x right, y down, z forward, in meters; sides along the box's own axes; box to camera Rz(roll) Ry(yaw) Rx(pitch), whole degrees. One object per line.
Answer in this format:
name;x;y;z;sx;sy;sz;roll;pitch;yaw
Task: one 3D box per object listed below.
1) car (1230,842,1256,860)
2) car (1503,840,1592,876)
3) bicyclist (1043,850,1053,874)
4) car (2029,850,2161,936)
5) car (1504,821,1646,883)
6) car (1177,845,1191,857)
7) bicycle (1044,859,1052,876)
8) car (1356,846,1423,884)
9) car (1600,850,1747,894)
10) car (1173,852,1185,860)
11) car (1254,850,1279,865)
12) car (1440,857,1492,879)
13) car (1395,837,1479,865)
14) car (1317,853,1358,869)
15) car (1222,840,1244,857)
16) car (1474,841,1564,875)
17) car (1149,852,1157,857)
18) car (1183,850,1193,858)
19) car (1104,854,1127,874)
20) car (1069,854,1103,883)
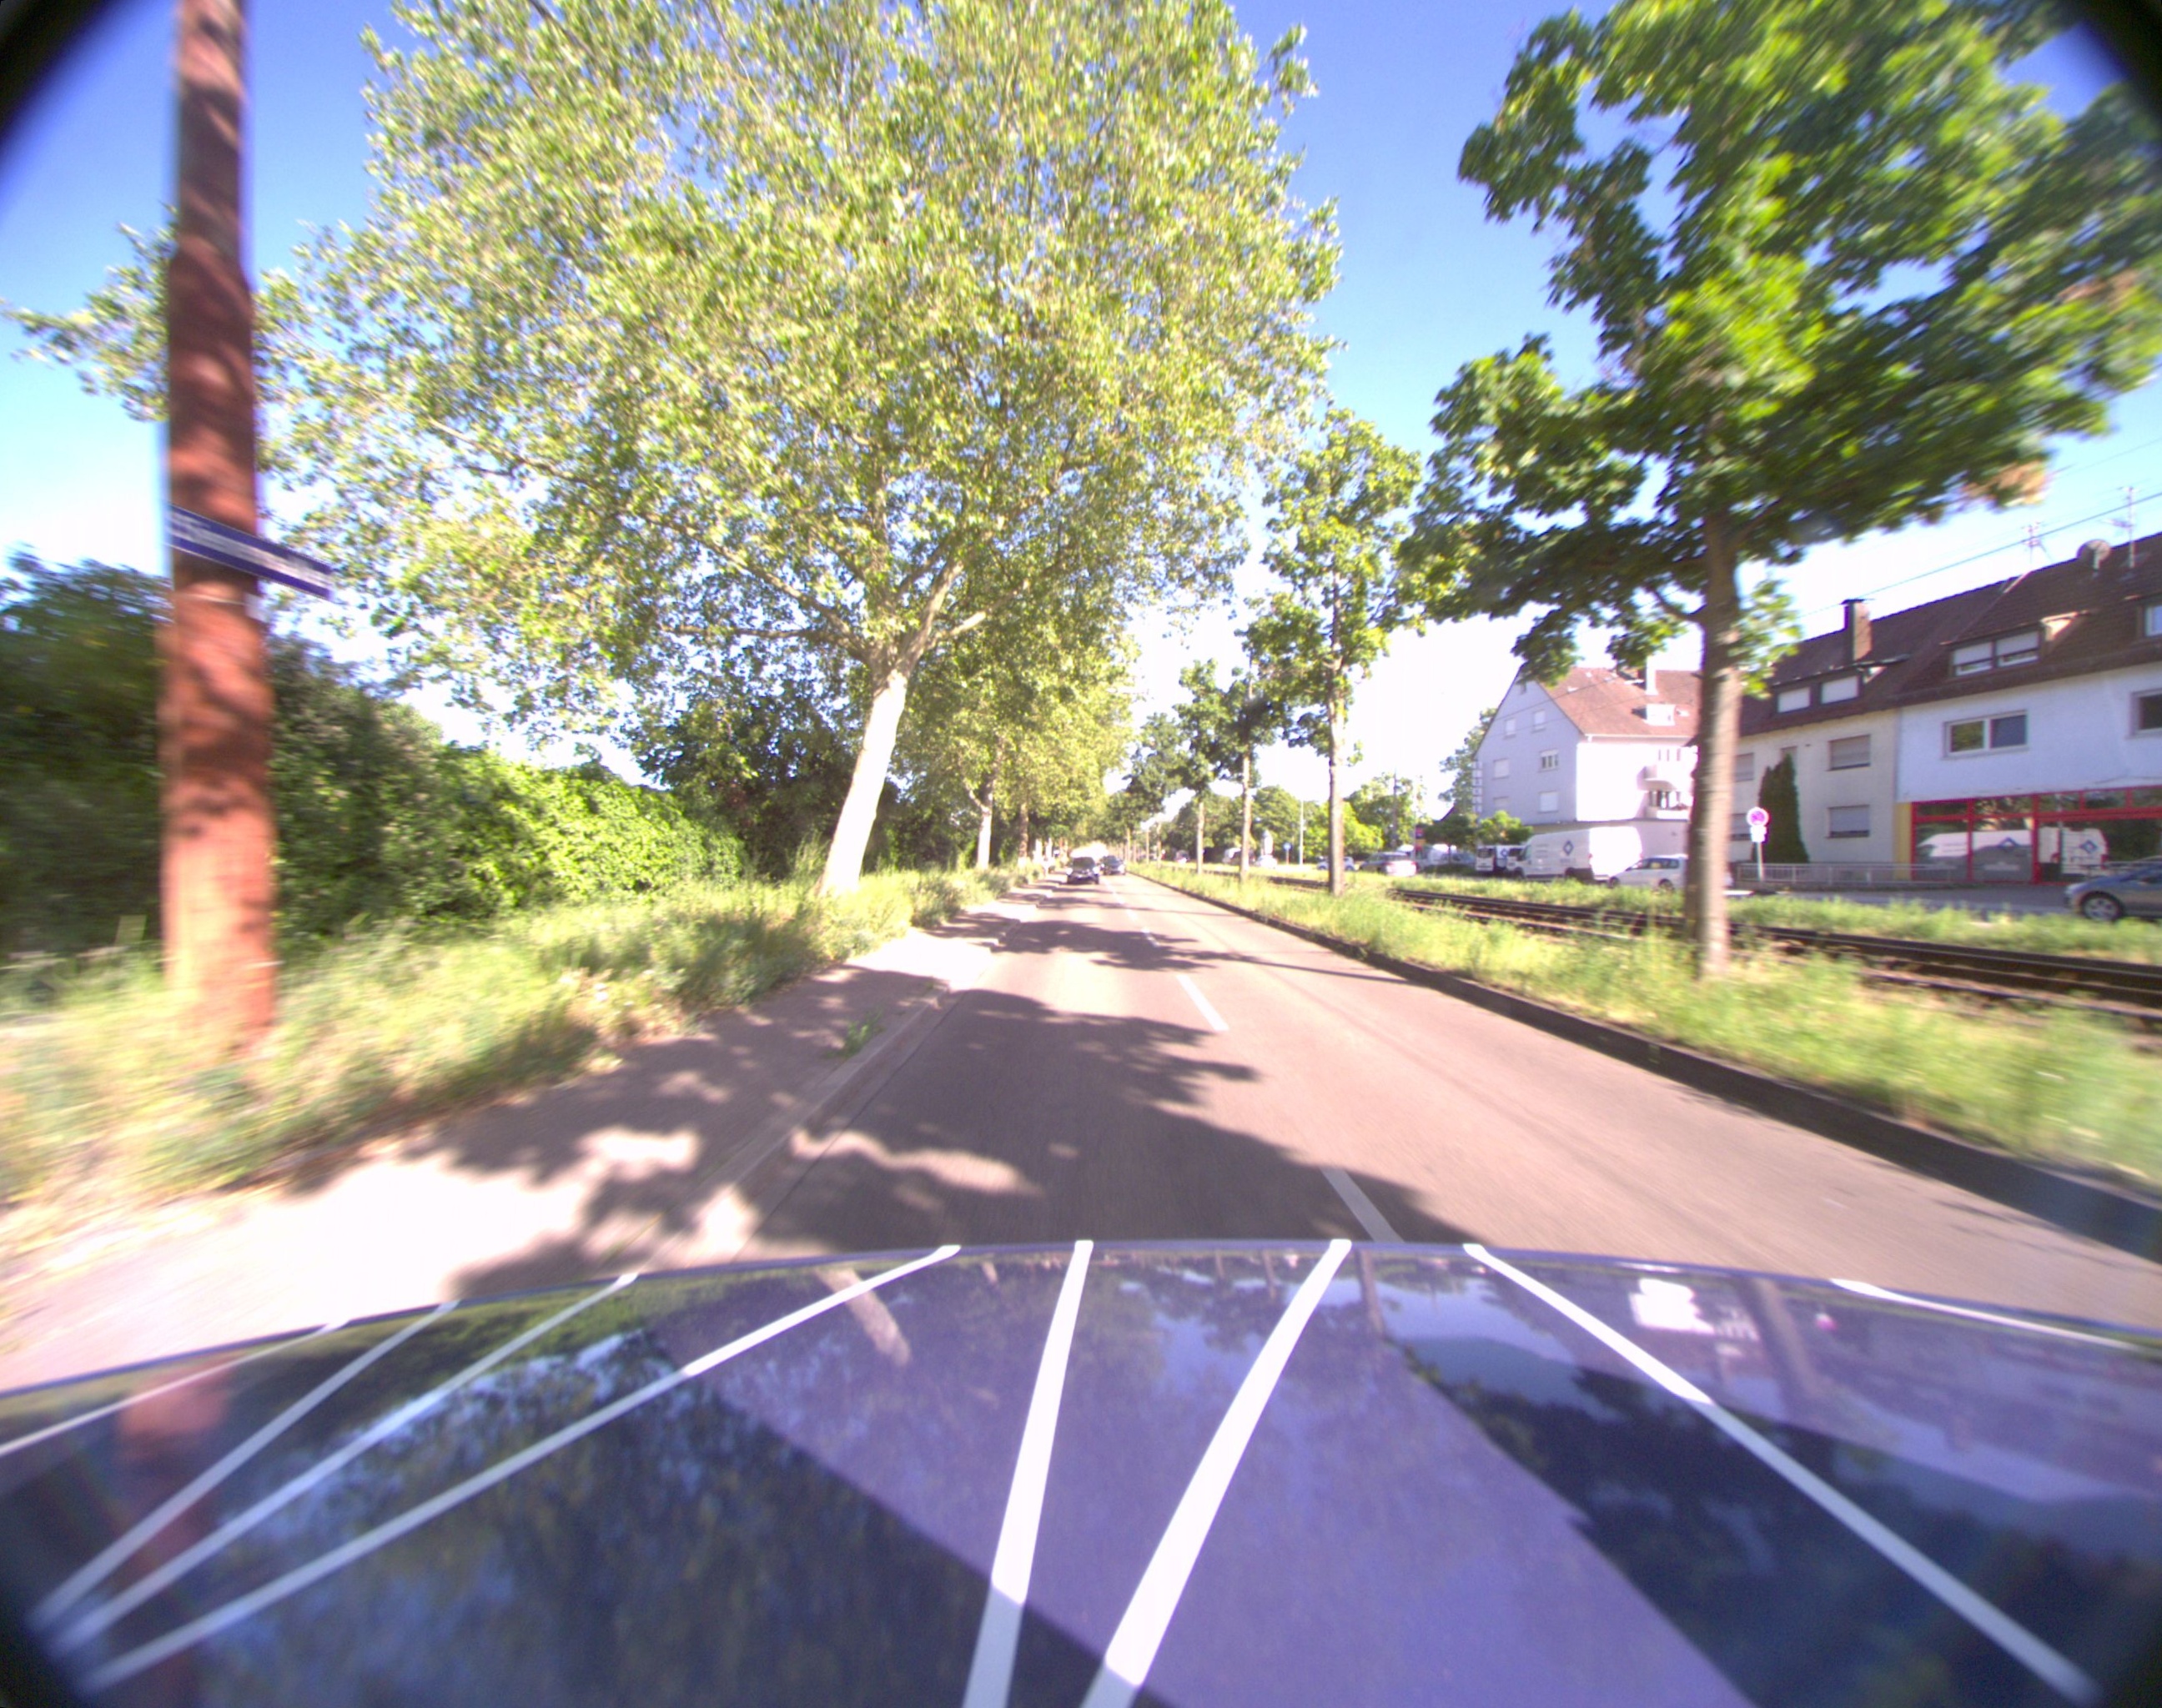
car;22.365;-0.426;105.038;2.188;2.362;6.464;-2;1;1
car;27.439;0.228;44.768;4.151;1.941;1.998;-1;1;-10
bicyclist;-2.237;0.545;52.031;0.615;1.619;0.909;-1;1;1
car;21.572;0.743;14.246;1.998;1.572;4.498;-2;0;1
car;21.701;-0.114;33.852;1.998;2.445;6.673;-2;1;0
car;23.028;-0.641;170.668;2.231;2.565;6.799;-2;0;1
bicycle;-2.226;0.913;52.049;0.441;1.146;1.823;-1;0;1
car;16.813;0.539;41.688;1.920;1.872;4.523;-2;1;2
car;21.660;0.601;28.064;1.829;1.404;4.657;-2;1;0
car;17.705;0.368;137.758;1.680;1.401;4.000;-1;0;0
car;22.448;0.382;92.004;1.827;1.598;4.773;-2;1;1
car;32.358;1.161;63.975;1.801;1.661;4.097;-2;1;-8
car;34.390;-0.271;73.587;7.086;2.493;2.329;-2;0;-4
car;24.315;0.632;72.017;3.617;1.469;1.753;-1;0;21
car;22.586;-0.858;113.255;2.007;2.482;6.136;-2;1;0
car;27.116;0.230;47.117;4.633;1.934;1.998;-1;1;-10
car;20.128;0.115;211.351;1.998;1.522;3.751;-1;0;2
car;22.976;-0.092;163.073;1.626;1.613;4.532;-2;1;0
car;2.807;0.825;62.520;1.714;1.478;3.546;-2;1;2
car;0.262;0.790;43.382;1.808;1.478;3.546;-2;1;0
